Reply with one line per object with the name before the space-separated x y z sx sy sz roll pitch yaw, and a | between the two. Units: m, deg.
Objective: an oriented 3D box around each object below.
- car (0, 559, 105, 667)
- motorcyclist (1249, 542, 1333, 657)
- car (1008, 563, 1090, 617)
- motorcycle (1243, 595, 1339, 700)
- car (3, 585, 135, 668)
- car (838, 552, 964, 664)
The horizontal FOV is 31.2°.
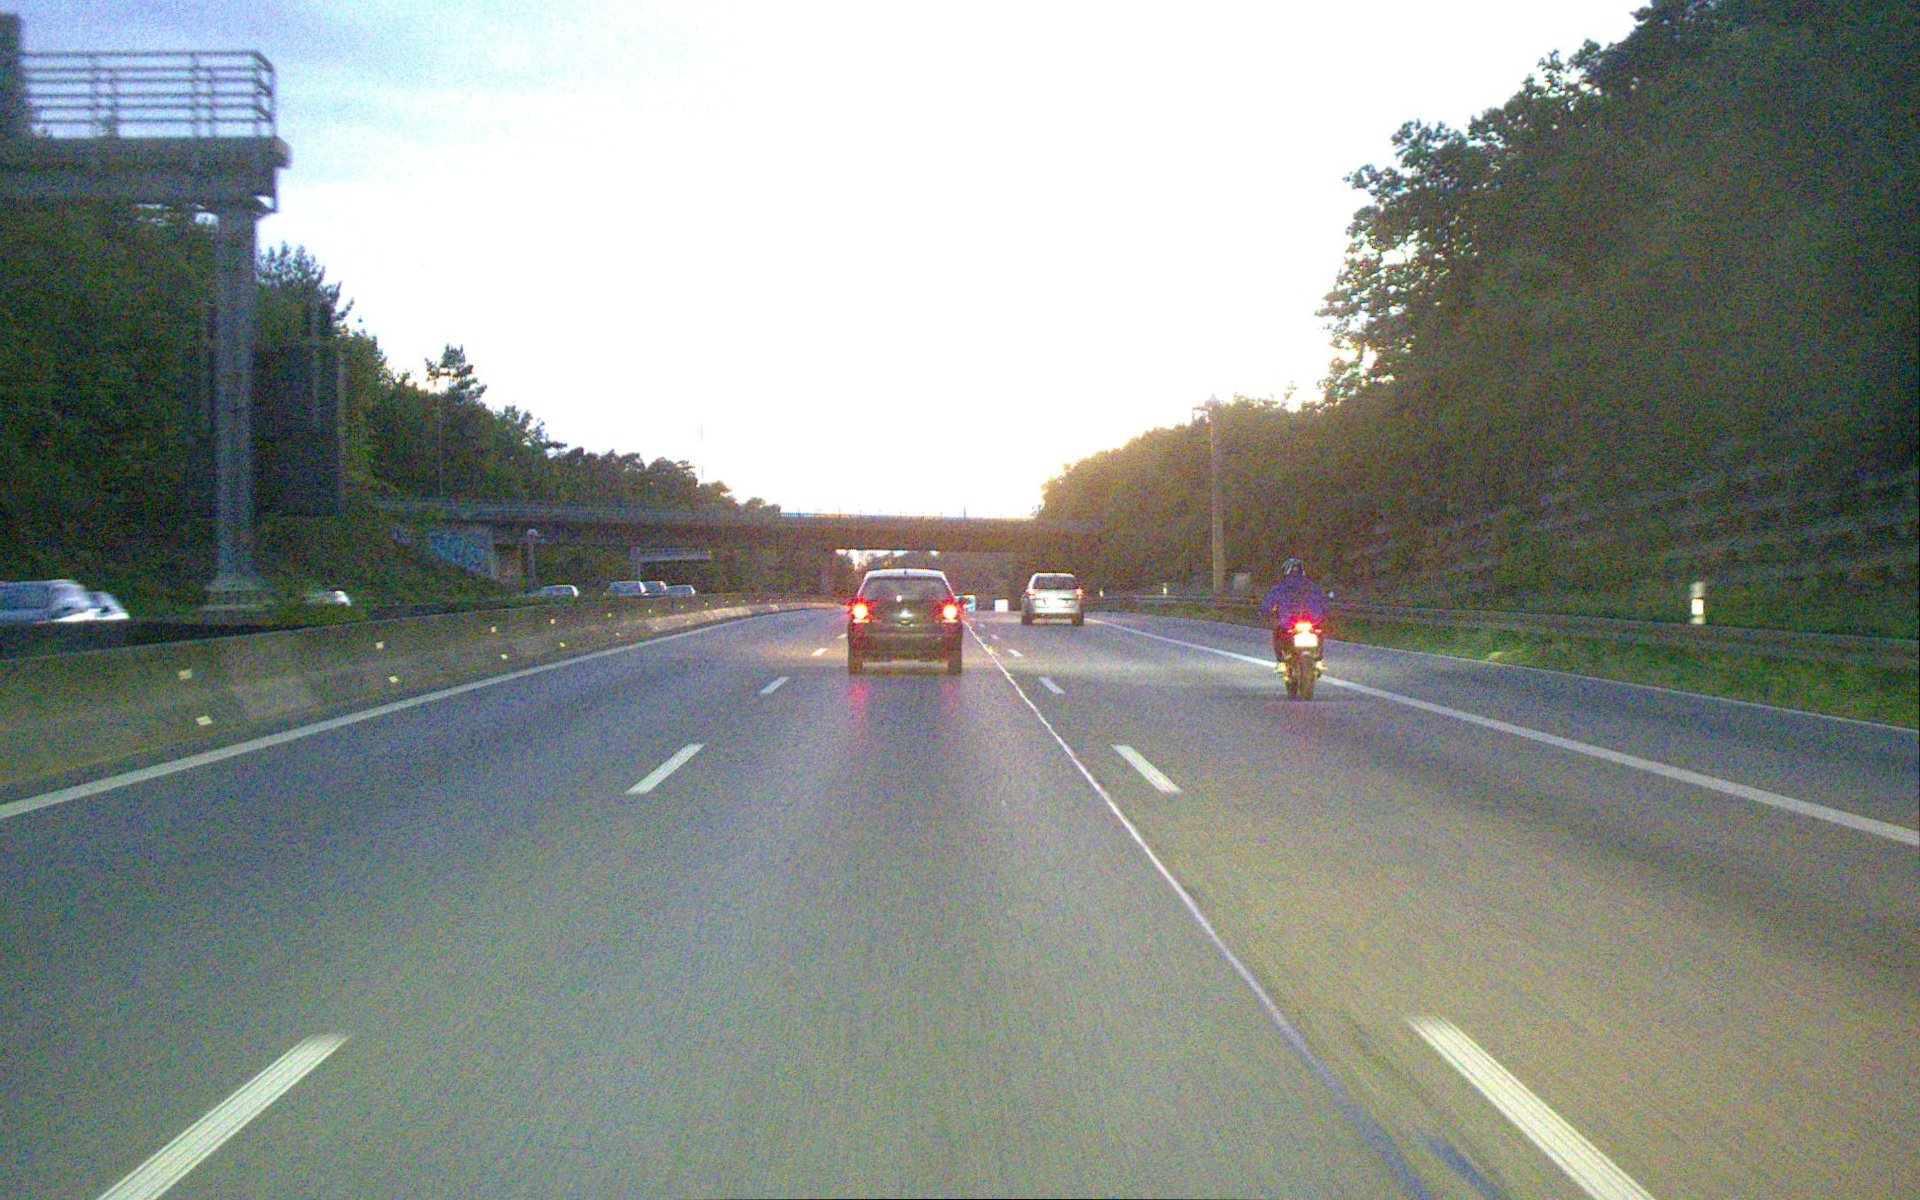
car | -16.037 0.191 58.505 1.916 1.759 5.009 0 1 -2
motorcyclist | 3.761 -0.013 39.133 0.829 1.287 1.190 0 1 -1
car | 2.560 -0.279 99.719 1.865 1.489 4.399 1 0 -5
motorcycle | 3.762 0.520 39.206 0.829 1.130 2.476 0 1 -1
car | -20.079 0.570 77.650 1.916 1.759 5.009 0 1 -3
car | -0.830 0.108 49.326 1.704 1.504 4.232 1 0 0
